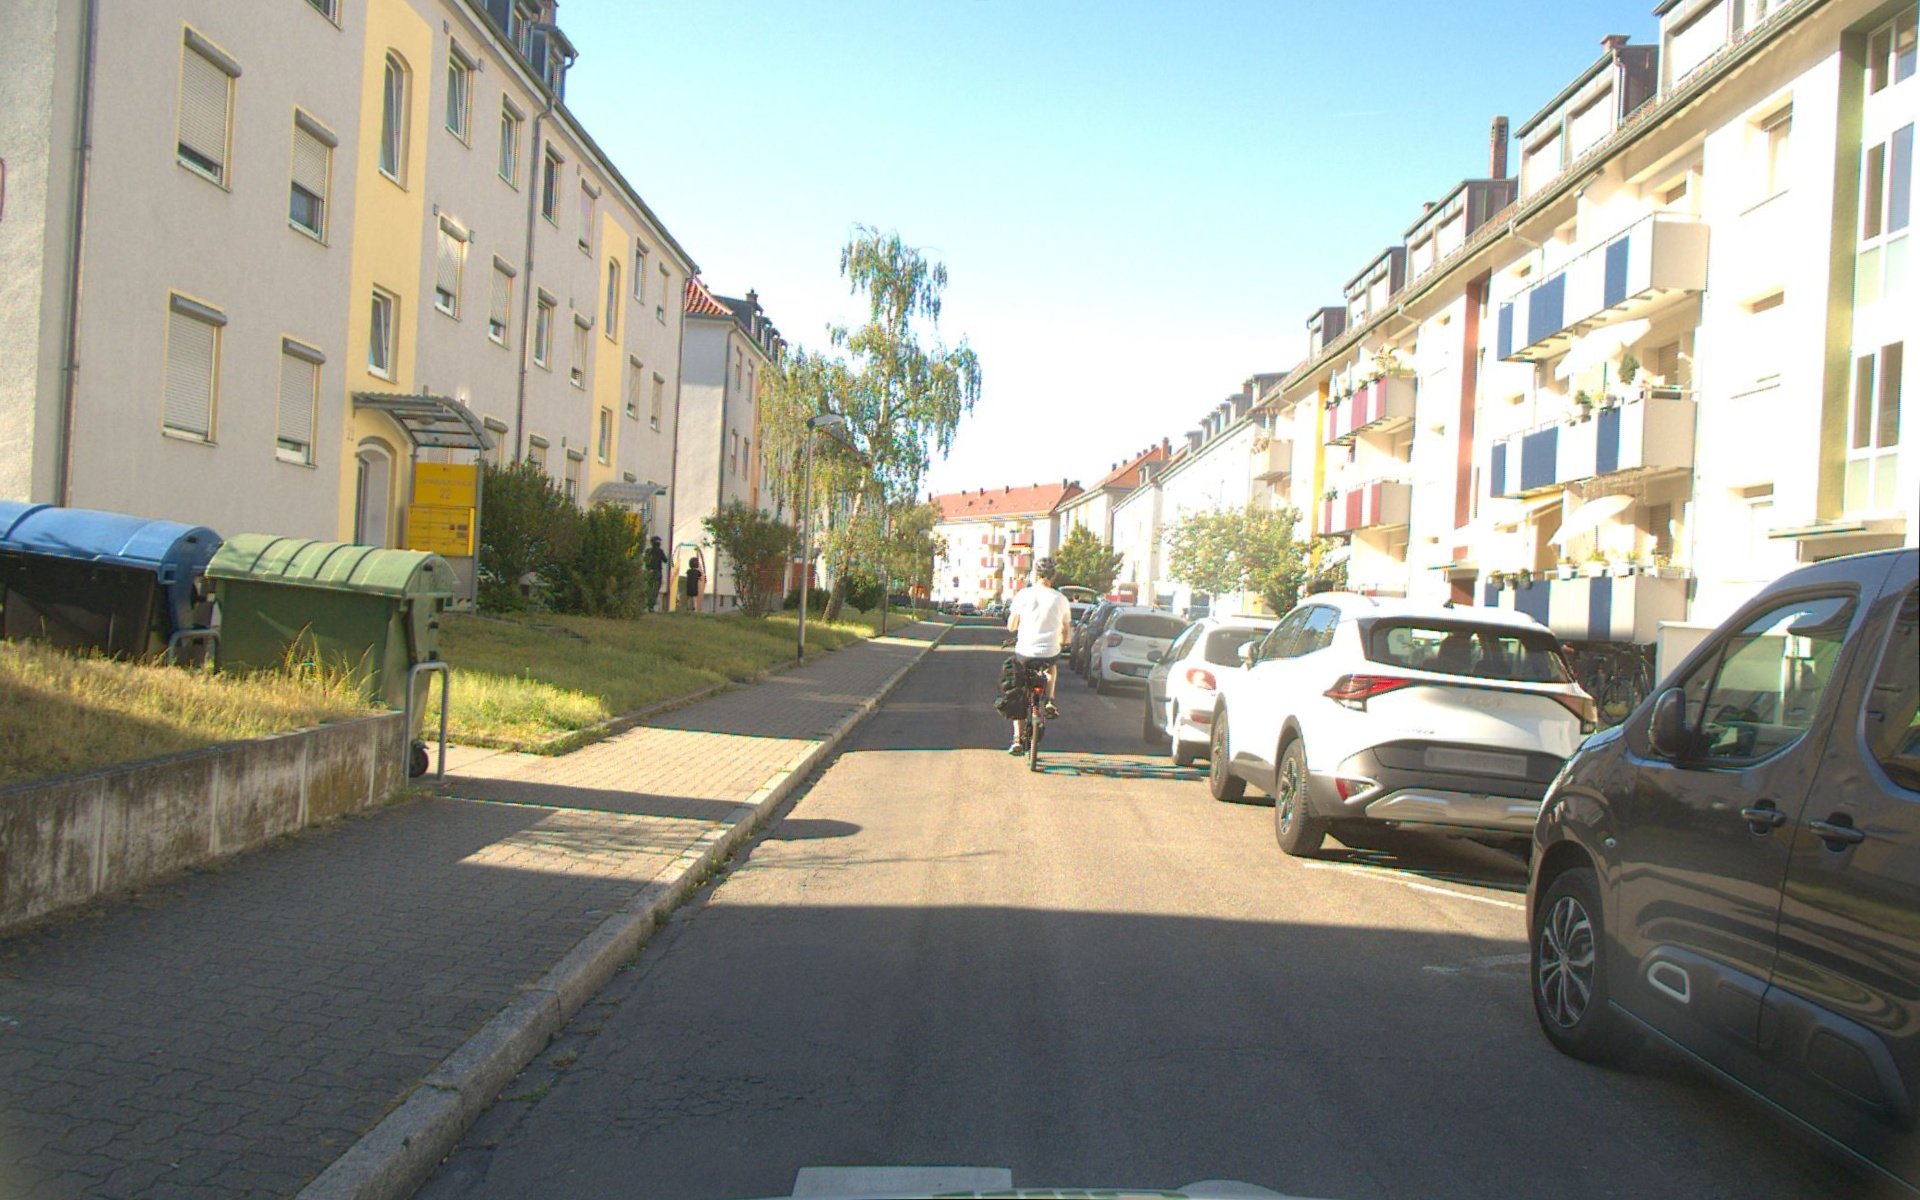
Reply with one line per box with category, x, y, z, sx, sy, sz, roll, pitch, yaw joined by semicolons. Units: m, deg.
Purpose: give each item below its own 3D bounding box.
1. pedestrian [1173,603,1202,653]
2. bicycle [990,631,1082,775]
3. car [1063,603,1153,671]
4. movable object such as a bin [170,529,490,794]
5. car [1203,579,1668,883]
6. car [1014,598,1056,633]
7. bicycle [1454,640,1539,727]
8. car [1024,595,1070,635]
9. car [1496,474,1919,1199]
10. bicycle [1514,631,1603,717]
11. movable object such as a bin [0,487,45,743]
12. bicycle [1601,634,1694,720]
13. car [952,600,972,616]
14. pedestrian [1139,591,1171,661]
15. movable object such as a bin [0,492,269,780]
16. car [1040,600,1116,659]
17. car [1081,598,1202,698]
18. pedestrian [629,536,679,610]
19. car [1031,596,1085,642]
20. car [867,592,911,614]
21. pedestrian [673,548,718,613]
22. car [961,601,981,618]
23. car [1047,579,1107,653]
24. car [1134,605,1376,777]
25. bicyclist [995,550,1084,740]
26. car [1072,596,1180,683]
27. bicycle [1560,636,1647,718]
pedestrian;8.005;0.994;58.226;0.698;1.707;0.792;2;0;30
bicycle;0.654;0.880;14.754;0.647;1.147;1.765;4;0;-1
car;3.513;0.844;39.739;1.797;1.460;3.752;3;0;1
movable object such as a bin;-3.952;0.370;10.534;1.461;1.504;1.265;3;0;0
car;3.001;0.749;11.437;1.942;1.619;4.124;3;0;0
car;3.530;0.714;77.991;1.769;1.524;4.200;3;0;1
bicycle;7.581;1.154;23.446;0.547;1.112;1.901;3;0;1
car;3.798;0.637;73.055;1.769;1.632;4.404;3;0;1
car;3.050;0.646;4.420;1.825;1.760;4.295;3;0;1
bicycle;8.495;1.032;23.528;0.547;1.112;1.901;3;0;1
movable object such as a bin;-6.859;0.064;10.419;1.429;1.641;1.191;3;0;0
bicycle;9.869;1.083;23.817;0.547;1.123;1.829;3;0;1
car;0.198;0.830;172.843;1.953;1.603;3.998;2;0;-2
pedestrian;5.894;0.785;49.936;0.774;2.049;1.082;2;0;1
movable object such as a bin;-5.413;0.204;10.448;1.468;1.651;1.263;3;0;0
car;3.311;0.811;47.126;1.855;1.522;4.092;3;0;1
car;3.120;0.801;29.081;1.598;1.516;3.623;5;0;-1
pedestrian;-7.491;-0.650;40.582;0.951;1.745;0.946;3;0;0
car;3.641;0.705;62.256;1.769;1.577;4.000;3;0;1
car;-6.460;0.239;151.429;3.906;1.832;2.000;3;0;-1
pedestrian;-6.526;-0.478;40.809;0.846;1.548;1.068;3;0;0
car;1.082;0.917;167.495;1.722;1.603;3.901;2;0;-3
car;3.706;0.493;52.960;1.586;2.181;4.000;3;0;1
car;2.893;0.842;16.956;1.721;1.457;3.628;3;0;-1
bicyclist;0.701;0.397;14.816;0.680;1.624;0.791;3;-1;-1
car;3.352;0.773;34.022;1.797;1.585;4.000;3;0;1
bicycle;9.235;1.082;23.795;0.504;1.072;1.865;3;0;1
